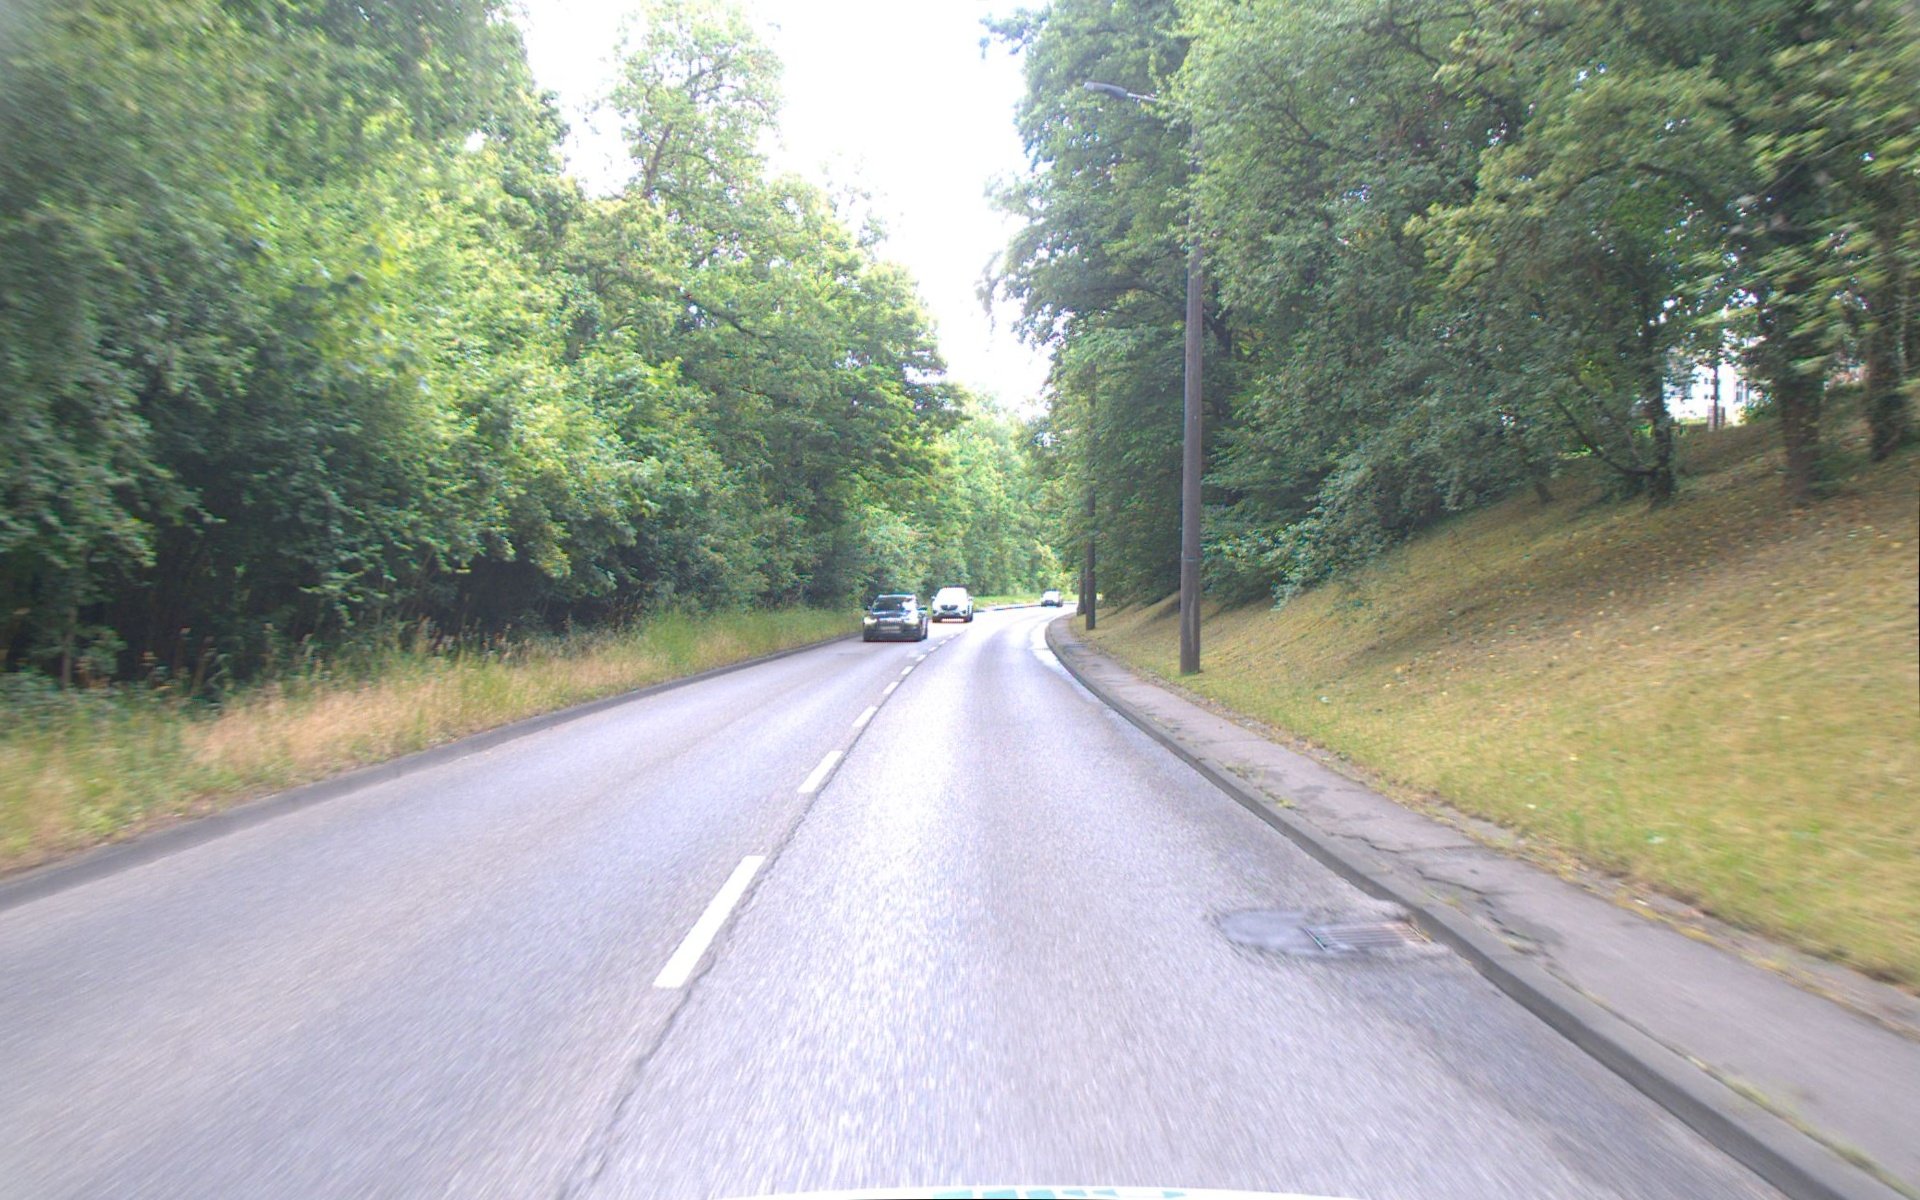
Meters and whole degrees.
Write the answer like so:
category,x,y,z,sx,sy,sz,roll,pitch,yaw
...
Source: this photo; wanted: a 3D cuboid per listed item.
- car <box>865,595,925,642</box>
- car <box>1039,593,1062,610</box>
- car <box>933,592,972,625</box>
category,x,y,z,sx,sy,sz,roll,pitch,yaw
car,-2.036,0.574,52.851,1.773,1.445,4.000,0,0,0
car,8.626,0.158,157.497,1.953,1.569,4.000,0,0,-1
car,-0.391,0.398,82.461,1.902,1.609,4.440,0,0,0
